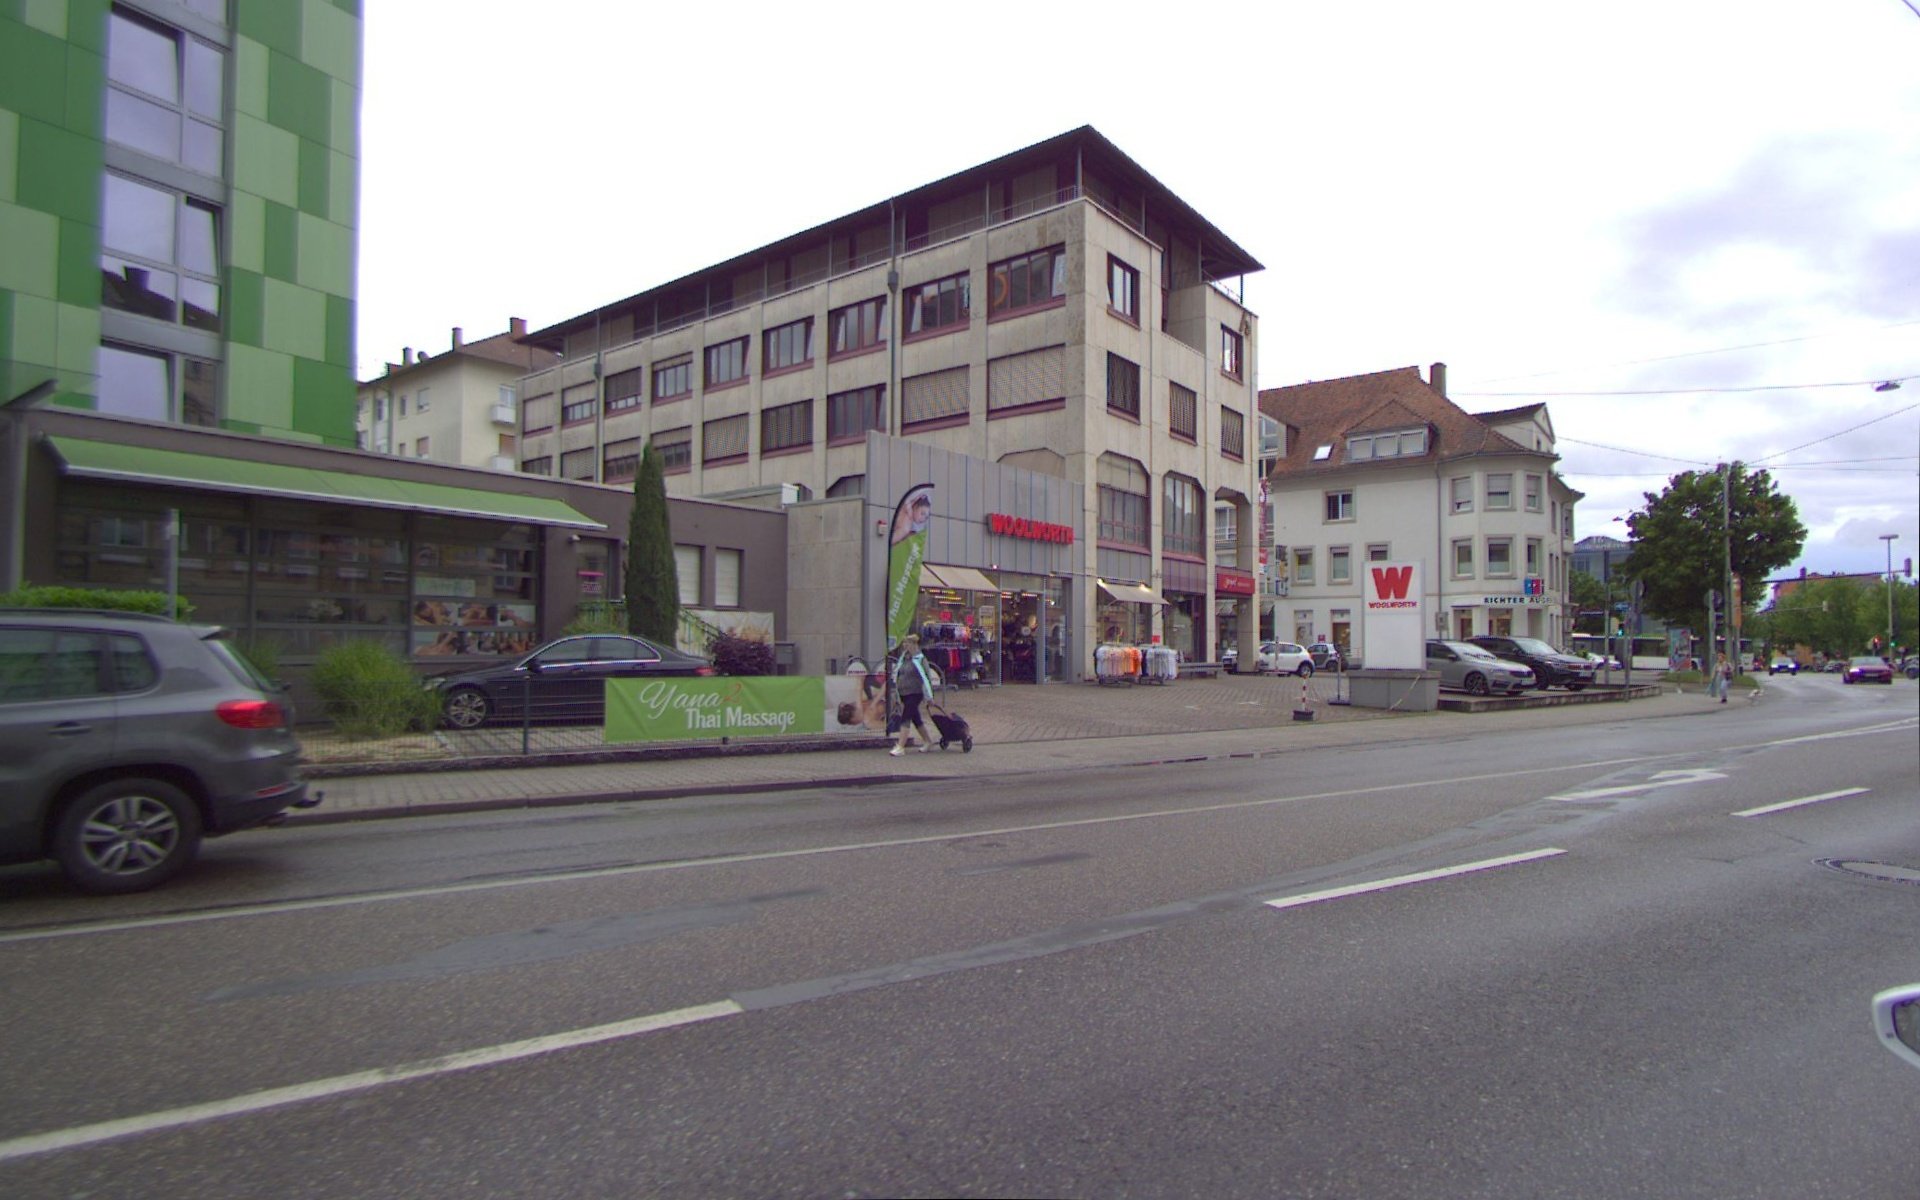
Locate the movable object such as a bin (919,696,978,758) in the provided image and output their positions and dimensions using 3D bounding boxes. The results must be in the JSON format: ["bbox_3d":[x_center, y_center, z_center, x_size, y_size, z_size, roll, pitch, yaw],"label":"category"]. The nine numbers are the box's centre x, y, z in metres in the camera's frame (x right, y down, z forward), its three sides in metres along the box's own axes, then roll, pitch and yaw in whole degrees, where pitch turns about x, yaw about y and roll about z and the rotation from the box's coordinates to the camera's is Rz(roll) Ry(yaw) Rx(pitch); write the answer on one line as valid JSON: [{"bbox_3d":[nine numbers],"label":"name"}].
[{"bbox_3d":[-0.158,1.788,14.269,0.718,0.799,0.755,1,-3,8],"label":"movable object such as a bin"}]

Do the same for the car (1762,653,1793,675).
[{"bbox_3d":[74.176,5.779,91.140,1.862,1.839,3.988,-1,-3,35],"label":"car"}]

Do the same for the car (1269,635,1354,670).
[{"bbox_3d":[19.101,2.822,54.631,3.936,1.839,1.993,-1,-3,37],"label":"car"}]

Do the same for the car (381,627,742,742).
[{"bbox_3d":[-5.694,1.177,14.693,4.589,1.457,1.988,2,-3,-25],"label":"car"}]

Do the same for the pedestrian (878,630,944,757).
[{"bbox_3d":[-0.664,1.271,13.920,0.732,1.707,0.755,0,-2,13],"label":"pedestrian"}]

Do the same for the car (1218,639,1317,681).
[{"bbox_3d":[12.874,2.505,42.080,3.701,1.519,1.577,4,-3,-17],"label":"car"}]

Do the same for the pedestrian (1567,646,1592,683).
[{"bbox_3d":[29.277,3.033,47.460,0.949,1.731,0.932,-1,-2,33],"label":"pedestrian"}]

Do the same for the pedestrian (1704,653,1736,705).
[{"bbox_3d":[23.344,2.409,30.874,0.751,1.549,0.506,1,-2,37],"label":"pedestrian"}]

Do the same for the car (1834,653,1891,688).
[{"bbox_3d":[48.254,3.755,53.762,1.820,1.706,3.986,1,-2,36],"label":"car"}]

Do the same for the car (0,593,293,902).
[{"bbox_3d":[-6.339,0.849,5.866,4.017,1.680,1.936,2,-5,-36],"label":"car"}]

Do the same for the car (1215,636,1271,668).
[{"bbox_3d":[16.408,2.976,58.046,1.967,1.752,3.988,-1,-3,34],"label":"car"}]

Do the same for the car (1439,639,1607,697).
[{"bbox_3d":[17.735,2.102,31.884,1.926,1.526,4.407,2,0,-23],"label":"car"}]

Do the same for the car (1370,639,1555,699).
[{"bbox_3d":[14.057,1.893,28.370,1.864,1.546,4.426,2,-3,-29],"label":"car"}]

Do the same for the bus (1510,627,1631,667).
[{"bbox_3d":[53.825,4.073,88.781,2.887,3.146,8.790,2,-1,-33],"label":"bus"}]

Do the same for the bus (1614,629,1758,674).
[{"bbox_3d":[58.515,4.071,81.221,2.885,3.146,9.067,1,-1,-31],"label":"bus"}]

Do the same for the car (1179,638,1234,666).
[{"bbox_3d":[14.648,3.059,59.564,1.844,1.611,3.988,-1,-3,35],"label":"car"}]
